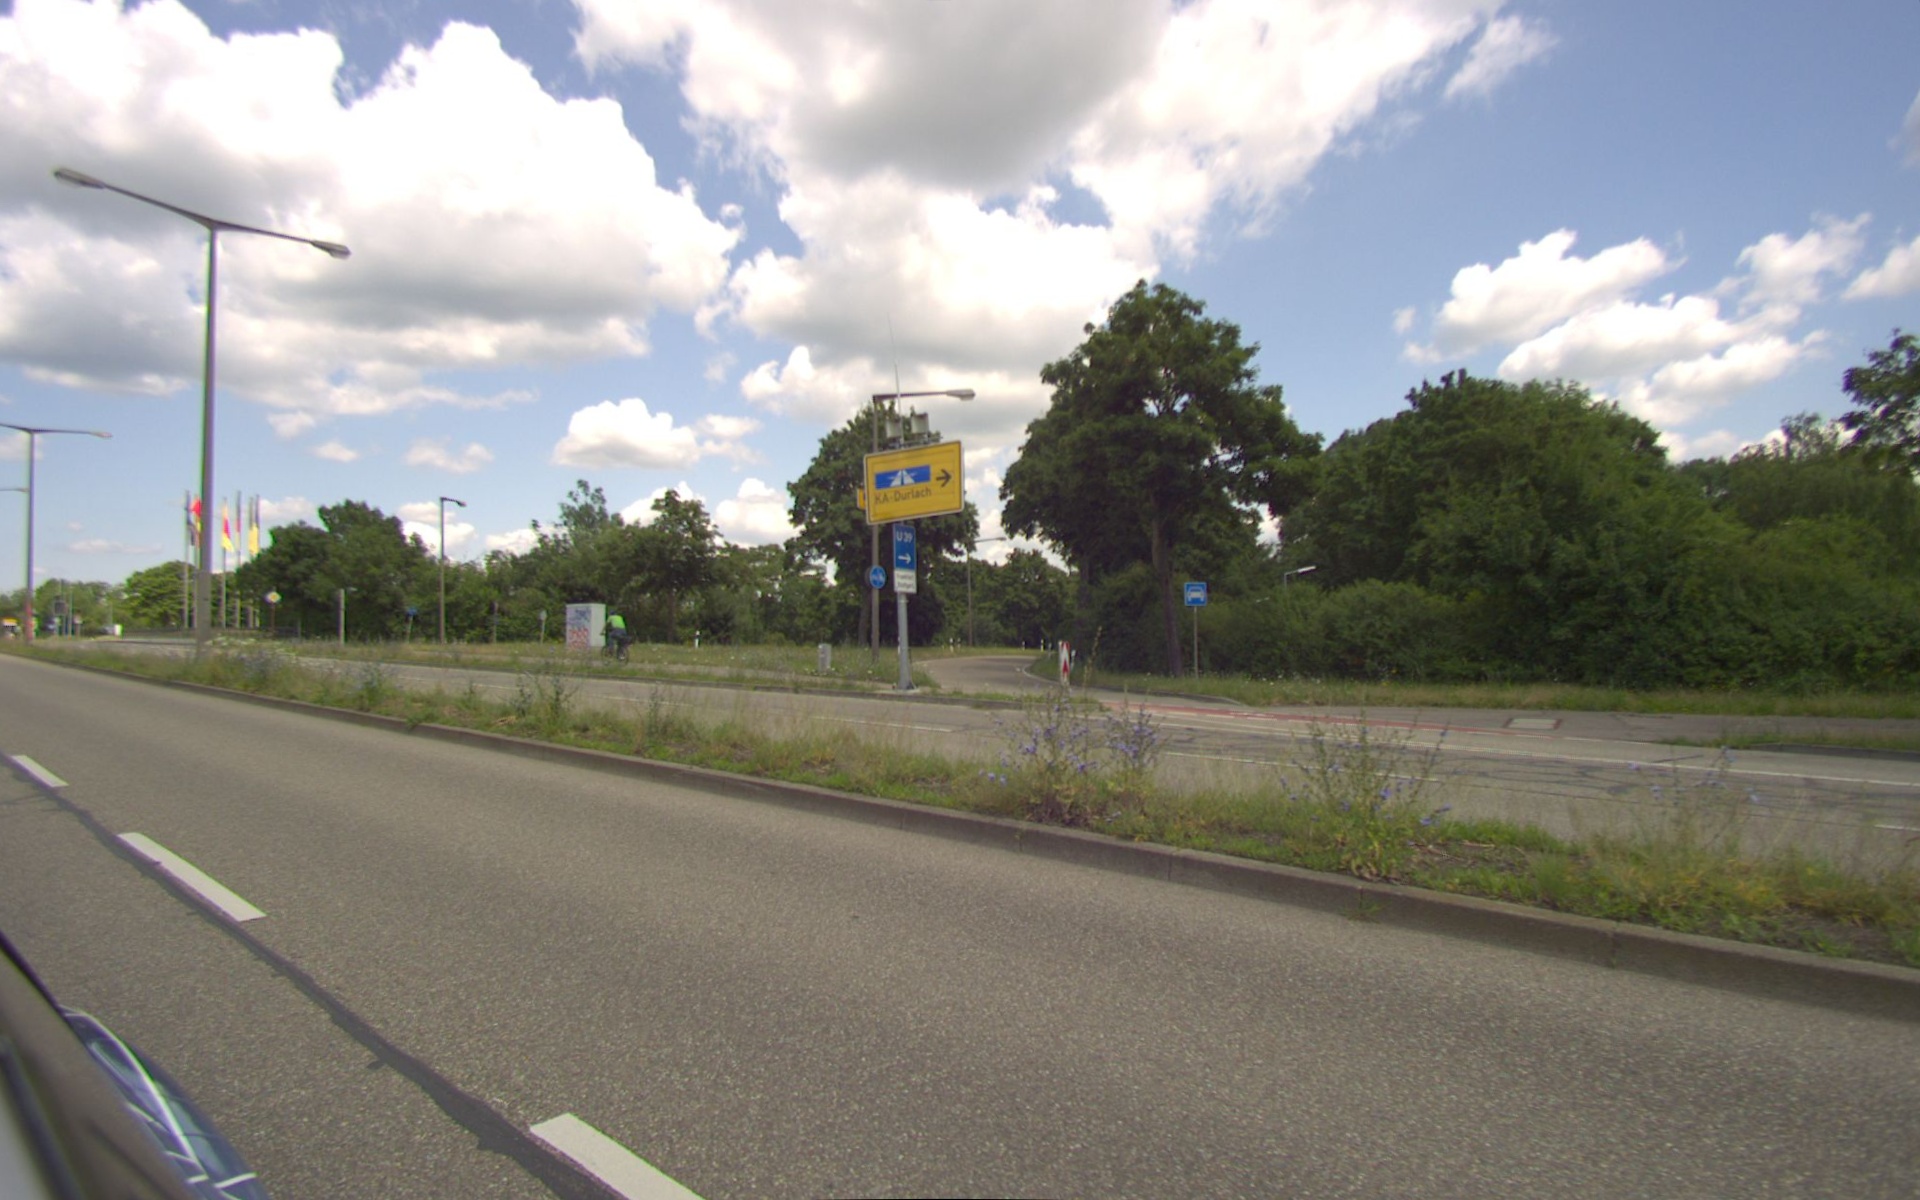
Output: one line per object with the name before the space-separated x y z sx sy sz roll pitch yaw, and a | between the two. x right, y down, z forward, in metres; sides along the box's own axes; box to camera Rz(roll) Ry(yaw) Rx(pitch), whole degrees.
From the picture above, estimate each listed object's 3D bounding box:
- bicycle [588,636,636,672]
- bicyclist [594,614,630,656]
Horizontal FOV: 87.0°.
bicycle | -10.826 1.681 31.459 1.905 1.076 0.427 -3 -2 38
bicyclist | -10.827 1.095 31.467 1.105 1.282 0.515 -3 -2 38
